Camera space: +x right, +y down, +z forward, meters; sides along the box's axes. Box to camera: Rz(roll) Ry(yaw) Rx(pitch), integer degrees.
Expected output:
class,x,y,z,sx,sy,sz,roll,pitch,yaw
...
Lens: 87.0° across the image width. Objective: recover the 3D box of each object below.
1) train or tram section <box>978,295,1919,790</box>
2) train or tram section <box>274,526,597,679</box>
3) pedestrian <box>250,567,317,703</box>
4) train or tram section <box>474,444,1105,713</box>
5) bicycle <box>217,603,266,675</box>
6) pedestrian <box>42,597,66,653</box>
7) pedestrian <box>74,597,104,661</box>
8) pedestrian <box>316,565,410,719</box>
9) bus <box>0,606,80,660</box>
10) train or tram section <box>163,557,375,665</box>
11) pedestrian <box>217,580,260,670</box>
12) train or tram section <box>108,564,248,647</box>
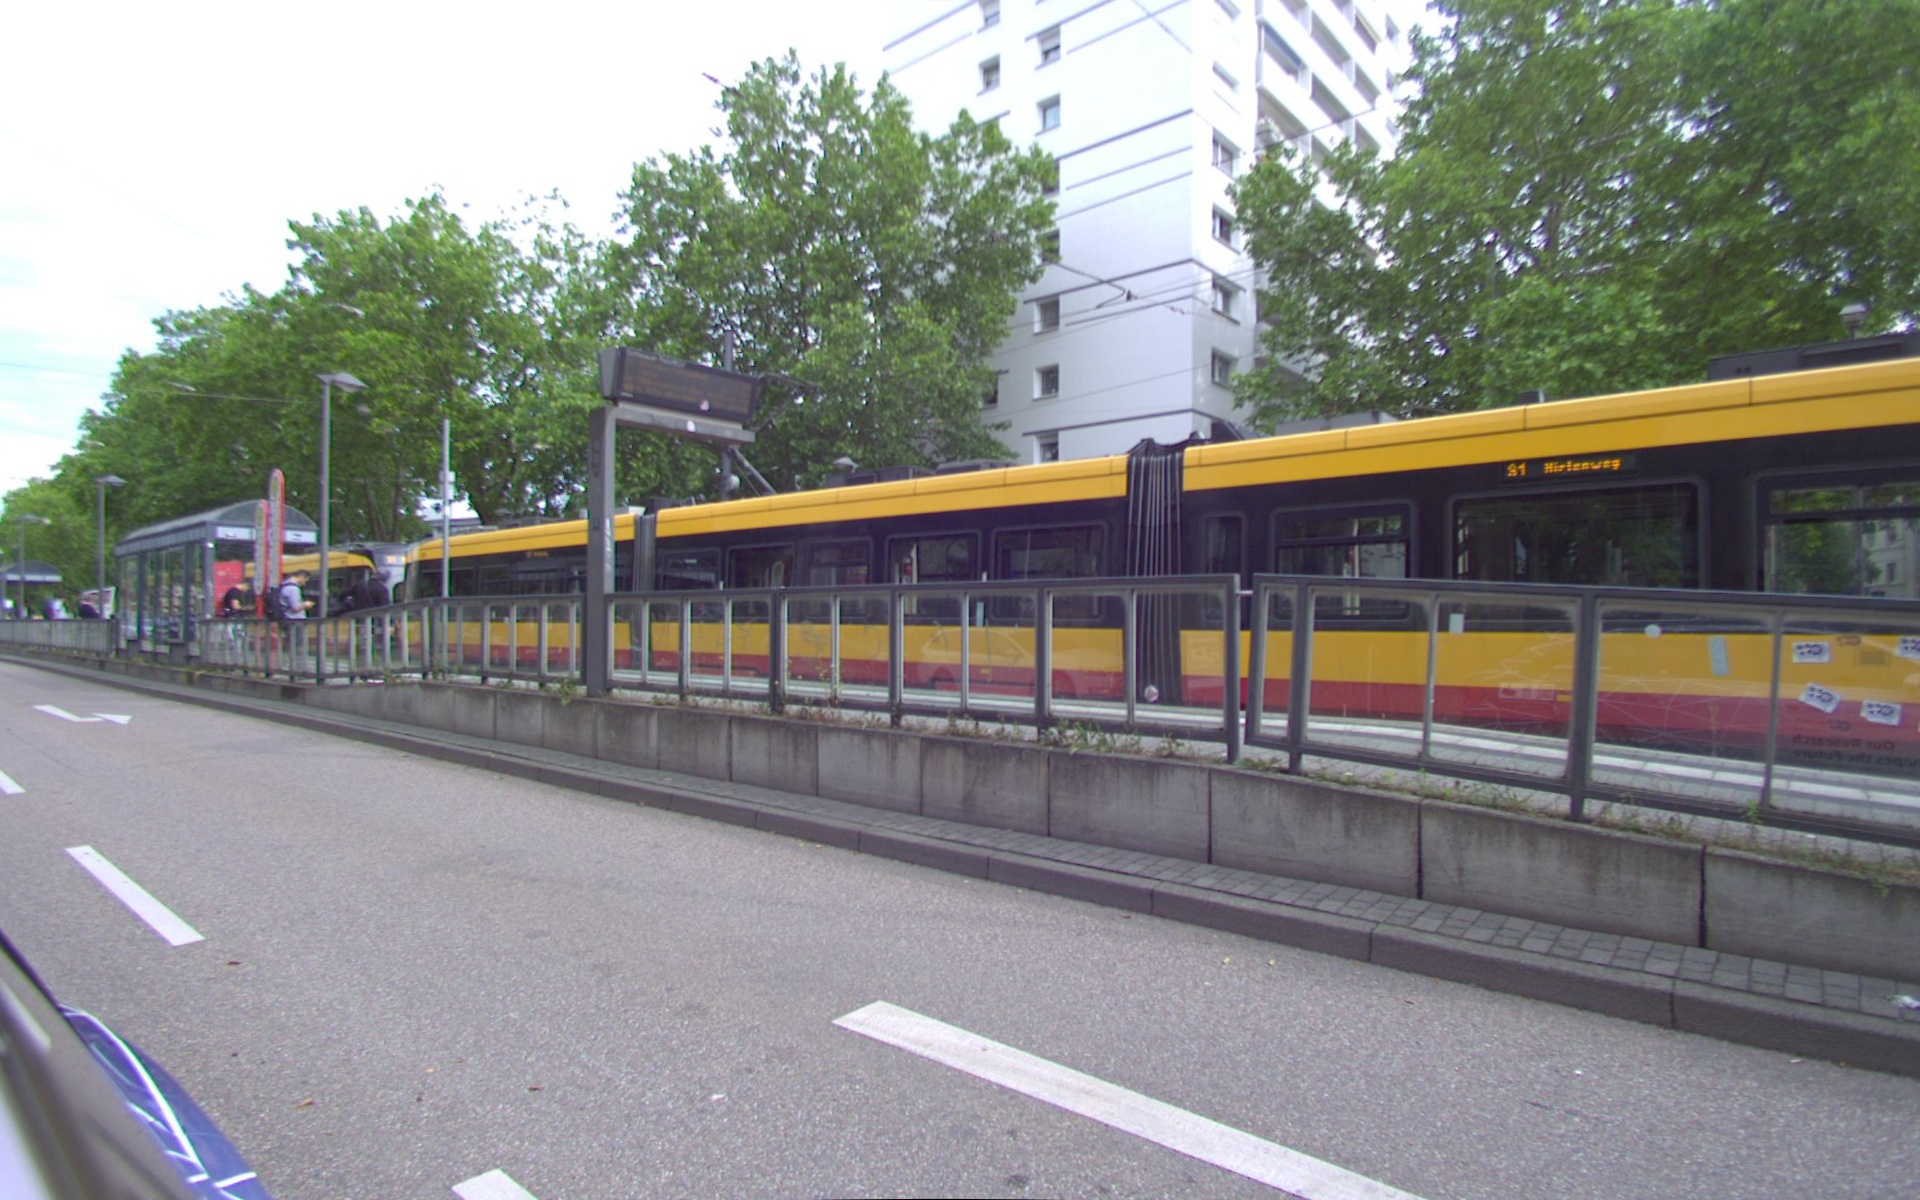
class,x,y,z,sx,sy,sz,roll,pitch,yaw
train or tram section,7.201,-0.420,9.268,15.841,3.615,3.028,-1,0,41
train or tram section,-16.004,0.125,29.661,15.287,3.558,3.028,-1,0,41
pedestrian,-10.391,0.520,15.564,0.742,2.029,0.821,-1,0,-26
train or tram section,-4.514,-0.213,19.554,15.287,3.558,3.028,-1,0,41
bicycle,-12.809,0.682,18.037,1.289,1.231,0.414,-1,0,41
pedestrian,-26.647,0.726,29.774,0.392,1.645,0.474,-1,0,42
pedestrian,-23.046,0.759,26.770,0.730,1.645,0.506,-1,0,42
pedestrian,-8.097,0.556,13.755,0.808,2.029,0.754,-1,0,4
bus,-36.587,1.271,40.146,3.998,2.029,1.973,-1,0,41
train or tram section,-27.667,0.436,39.893,15.764,3.558,3.028,-1,0,41
pedestrian,-13.436,0.464,18.853,0.471,1.645,0.526,-1,0,39
train or tram section,-38.278,0.302,49.266,12.533,3.588,3.060,-1,0,41
